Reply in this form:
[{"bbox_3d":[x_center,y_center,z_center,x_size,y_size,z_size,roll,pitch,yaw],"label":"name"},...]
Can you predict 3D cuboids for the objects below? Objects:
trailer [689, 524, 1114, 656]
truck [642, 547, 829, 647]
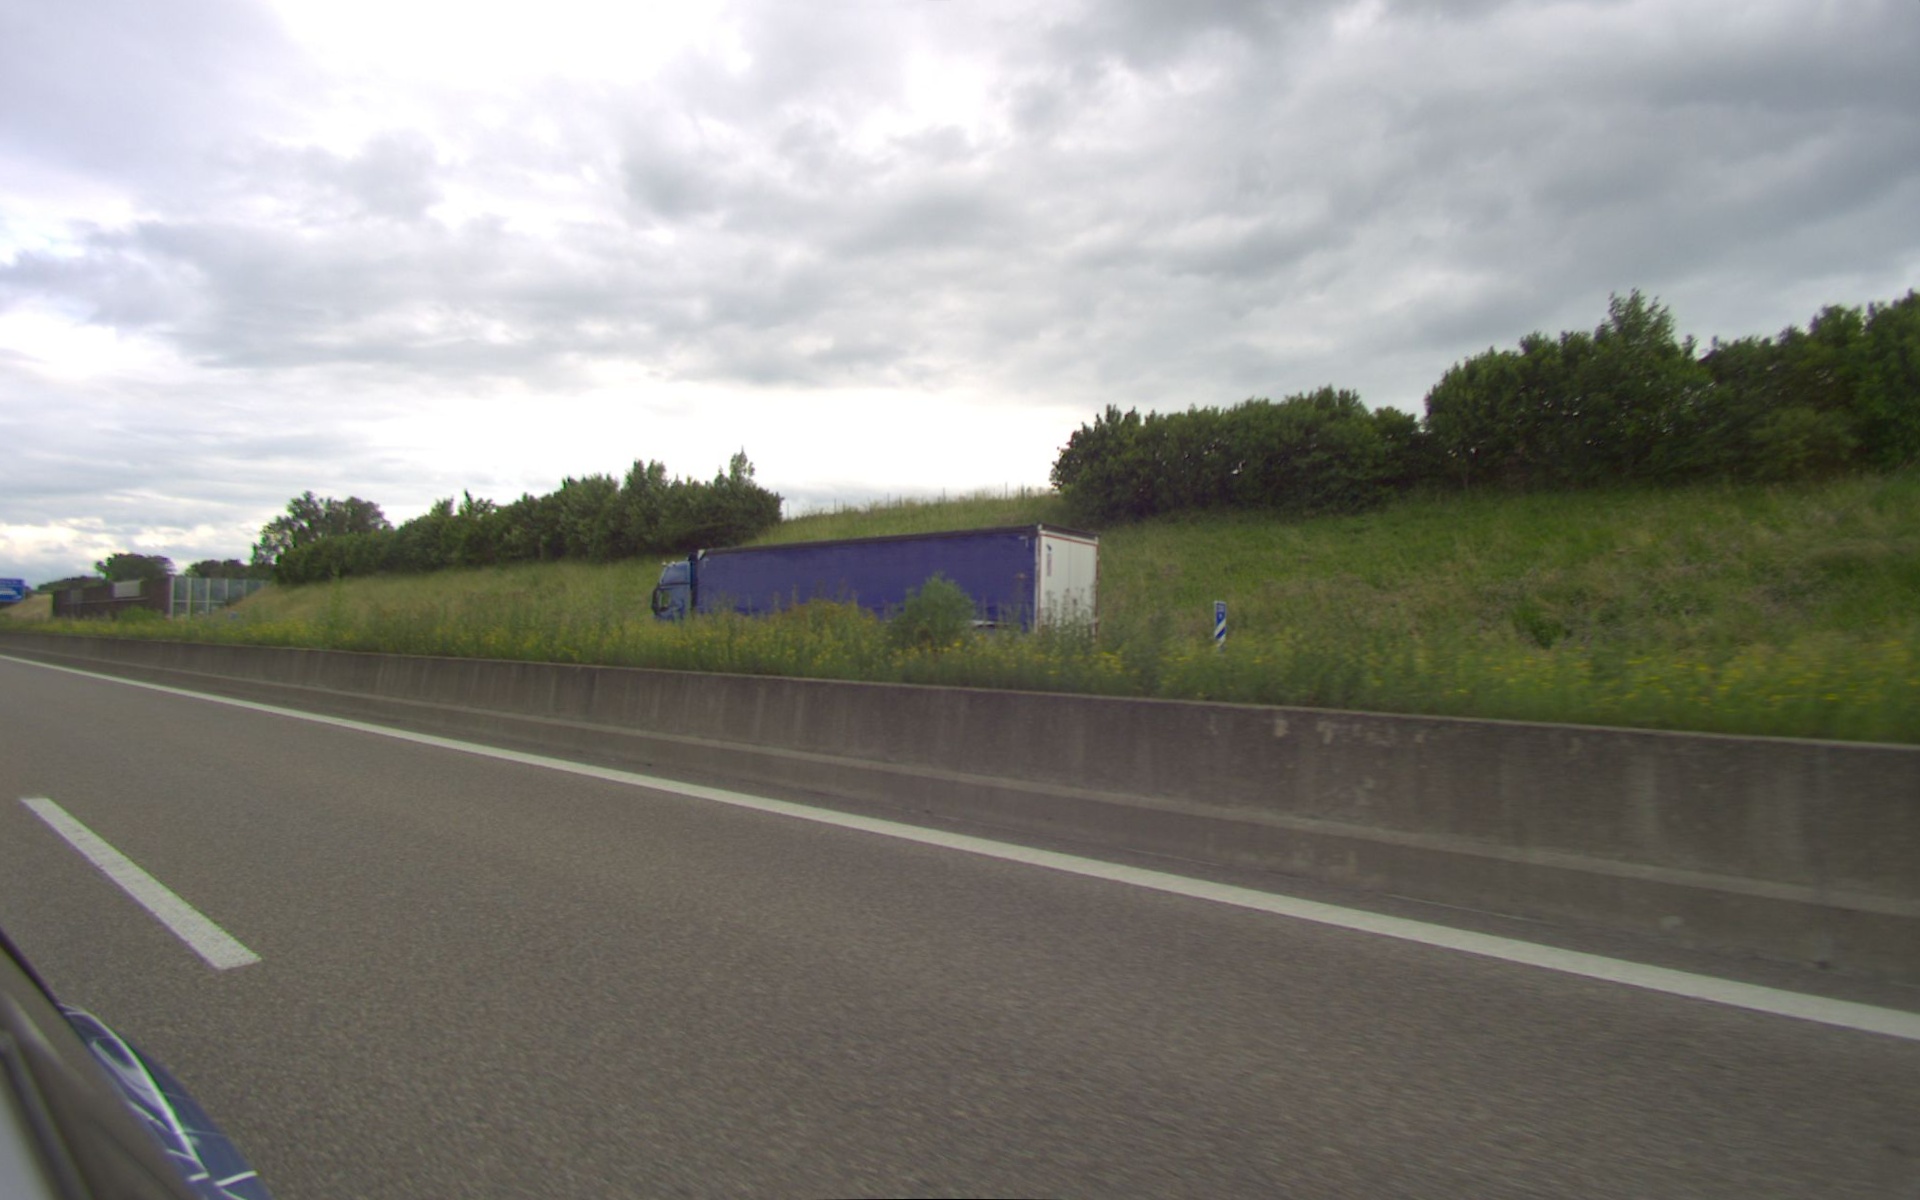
[{"bbox_3d":[-2.401,-0.147,28.534,13.964,2.978,2.891,-1,0,41],"label":"trailer"},{"bbox_3d":[-7.386,-0.060,32.956,6.112,2.968,2.880,-1,0,41],"label":"truck"}]
